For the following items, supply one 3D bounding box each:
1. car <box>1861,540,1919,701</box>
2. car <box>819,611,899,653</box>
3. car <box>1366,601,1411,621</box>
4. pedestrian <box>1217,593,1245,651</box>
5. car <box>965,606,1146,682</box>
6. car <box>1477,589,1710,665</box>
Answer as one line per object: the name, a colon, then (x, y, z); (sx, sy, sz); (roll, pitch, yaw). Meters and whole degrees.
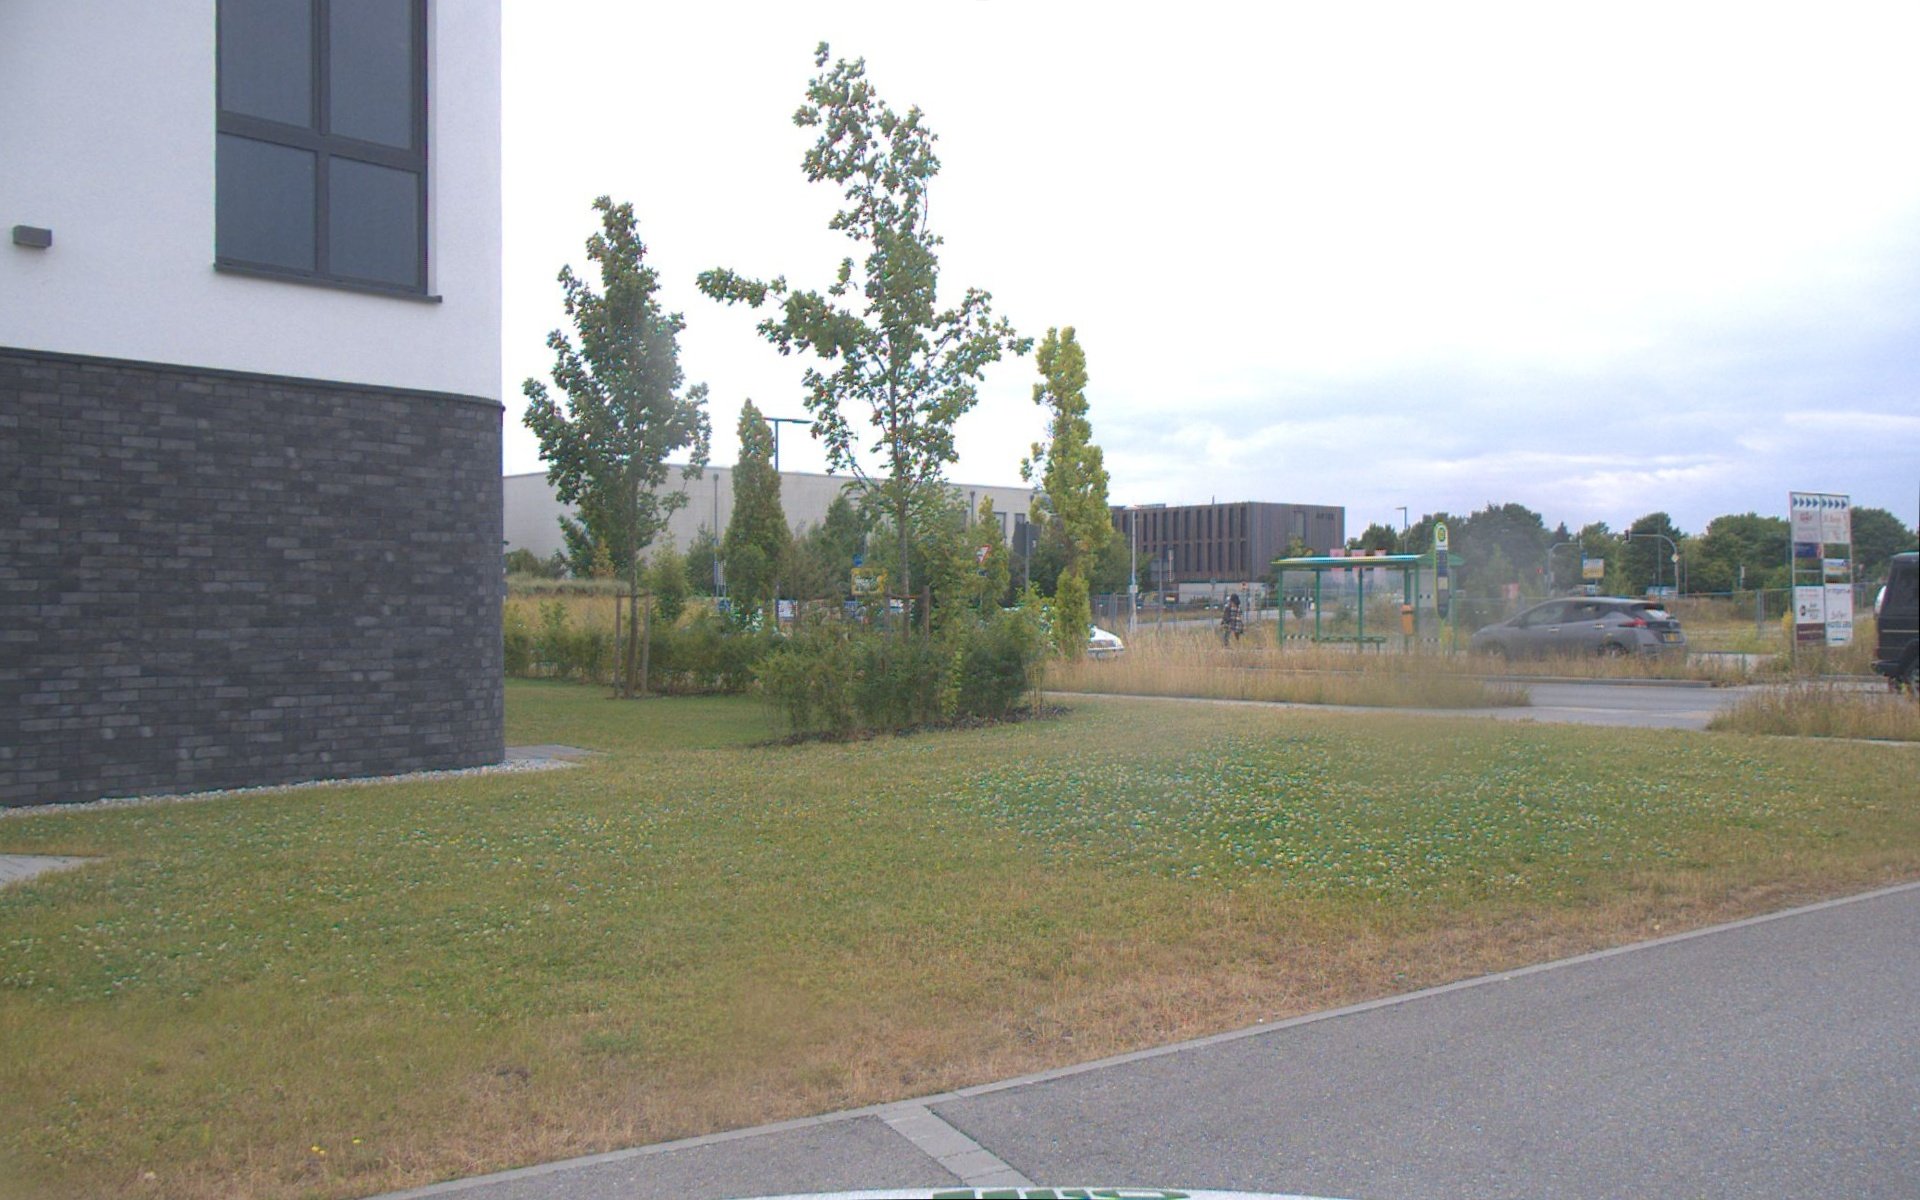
car: (13.390, 0.270, 19.223); (1.976, 1.957, 4.791); (0, 1, -34)
car: (-3.594, 1.097, 58.319); (1.689, 1.366, 3.938); (0, 0, -22)
car: (32.709, 0.816, 126.210); (3.612, 1.512, 1.654); (0, 1, -43)
pedestrian: (8.225, 0.664, 50.206); (0.726, 1.752, 0.650); (1, 0, -1)
car: (1.948, 0.877, 34.630); (1.782, 1.486, 3.764); (0, 0, -38)
car: (12.390, 0.485, 32.538); (1.700, 1.366, 4.011); (0, 0, -37)
